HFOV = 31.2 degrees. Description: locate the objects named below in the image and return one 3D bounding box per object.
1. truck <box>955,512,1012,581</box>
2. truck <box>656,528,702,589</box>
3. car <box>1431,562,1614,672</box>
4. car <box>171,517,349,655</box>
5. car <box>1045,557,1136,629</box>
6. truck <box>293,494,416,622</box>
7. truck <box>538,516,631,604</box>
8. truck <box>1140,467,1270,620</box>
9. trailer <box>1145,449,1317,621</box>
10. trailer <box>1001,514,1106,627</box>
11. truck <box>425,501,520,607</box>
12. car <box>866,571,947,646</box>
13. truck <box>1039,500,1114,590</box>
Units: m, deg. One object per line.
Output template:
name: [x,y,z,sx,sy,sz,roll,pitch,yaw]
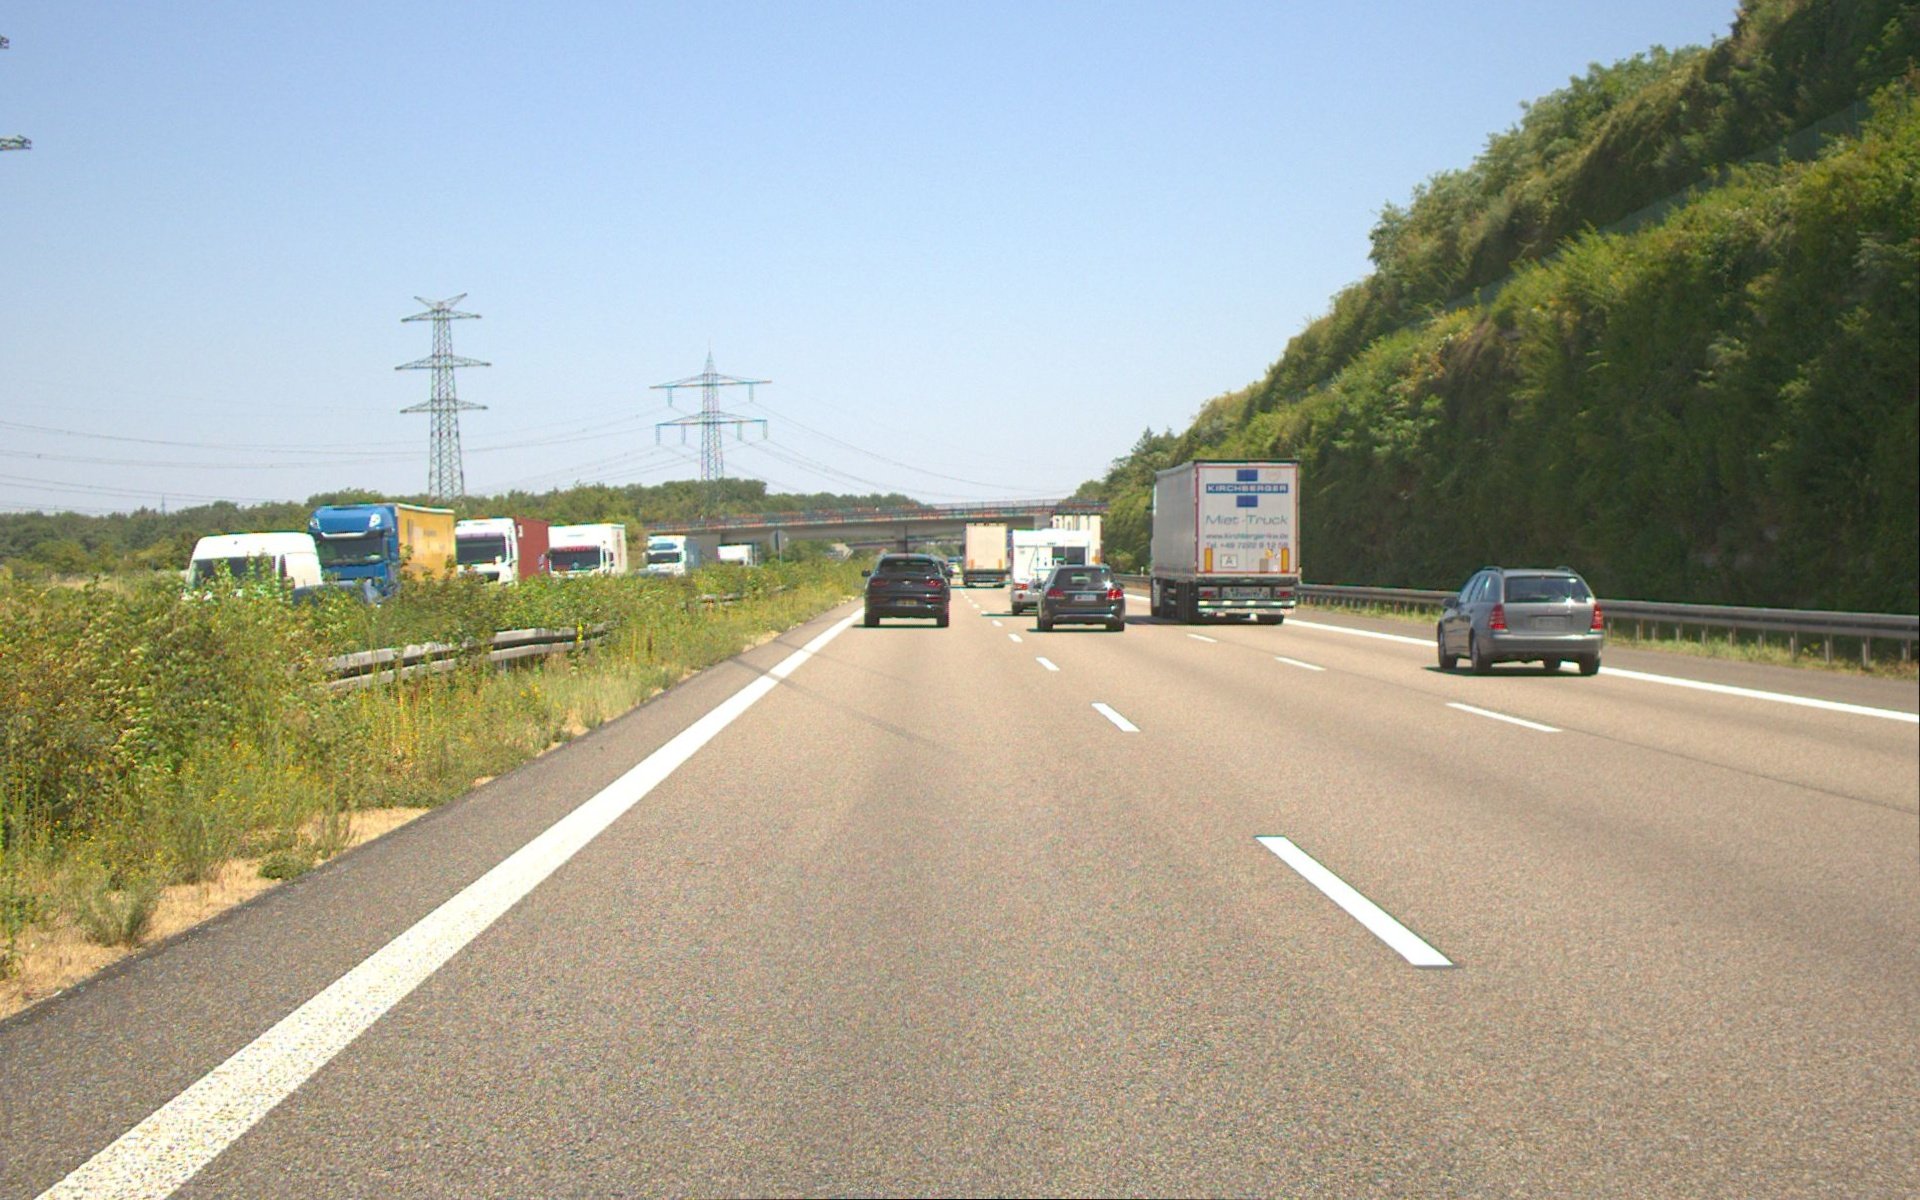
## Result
truck: [1.494,-3.412,221.484,3.409,4.265,10.608,-1,1,-1]
truck: [-19.227,-2.863,235.362,2.696,4.055,5.802,-1,1,-1]
car: [7.663,0.200,47.198,1.684,1.423,4.454,0,1,-1]
car: [-14.481,-0.324,71.607,2.105,2.622,7.467,-3,1,0]
car: [2.881,-0.176,76.671,1.830,1.520,4.000,-1,1,0]
truck: [-19.164,-1.336,109.050,2.863,3.894,5.621,-1,1,-1]
truck: [-15.298,-1.633,140.725,2.936,3.401,9.367,-1,1,-1]
truck: [6.839,-1.576,96.694,3.136,4.127,5.504,-1,1,-1]
trailer: [6.918,-1.653,89.831,3.183,4.107,13.432,-1,1,-1]
trailer: [2.758,-0.899,103.946,2.610,3.202,9.953,-1,1,-1]
truck: [-19.983,-1.891,141.305,3.212,4.144,6.440,-1,1,-3]
car: [-1.282,0.178,81.653,1.830,1.665,4.000,-1,1,-1]
truck: [5.756,-2.729,171.514,3.119,4.265,11.934,-1,1,-1]
